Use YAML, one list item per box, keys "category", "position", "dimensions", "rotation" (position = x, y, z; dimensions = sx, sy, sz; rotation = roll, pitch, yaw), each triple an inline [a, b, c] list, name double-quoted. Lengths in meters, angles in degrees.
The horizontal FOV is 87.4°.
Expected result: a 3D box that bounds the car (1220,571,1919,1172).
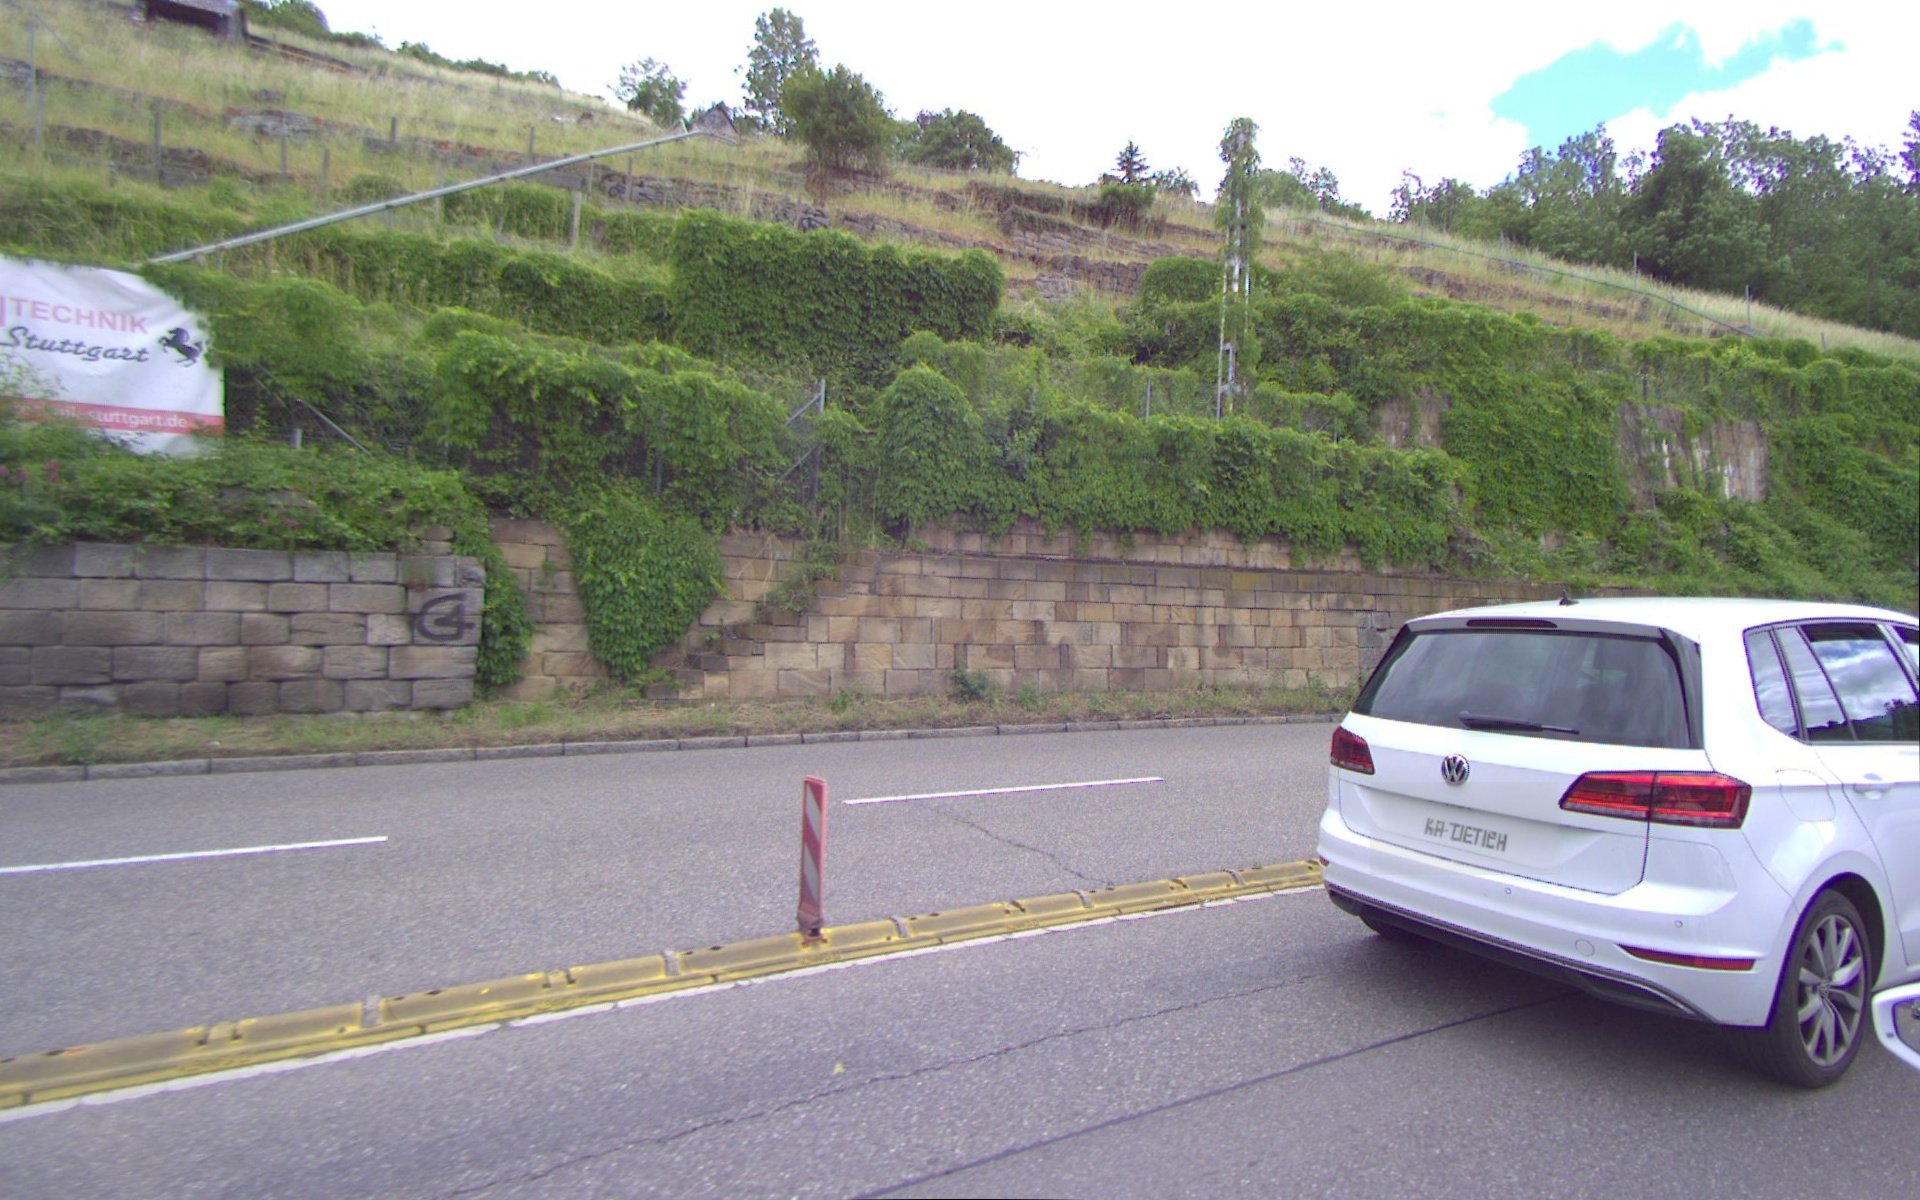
- category: "car"
  position: [3.436, 0.773, 4.513]
  dimensions: [4.302, 1.601, 1.813]
  rotation: [2, 0, -29]
